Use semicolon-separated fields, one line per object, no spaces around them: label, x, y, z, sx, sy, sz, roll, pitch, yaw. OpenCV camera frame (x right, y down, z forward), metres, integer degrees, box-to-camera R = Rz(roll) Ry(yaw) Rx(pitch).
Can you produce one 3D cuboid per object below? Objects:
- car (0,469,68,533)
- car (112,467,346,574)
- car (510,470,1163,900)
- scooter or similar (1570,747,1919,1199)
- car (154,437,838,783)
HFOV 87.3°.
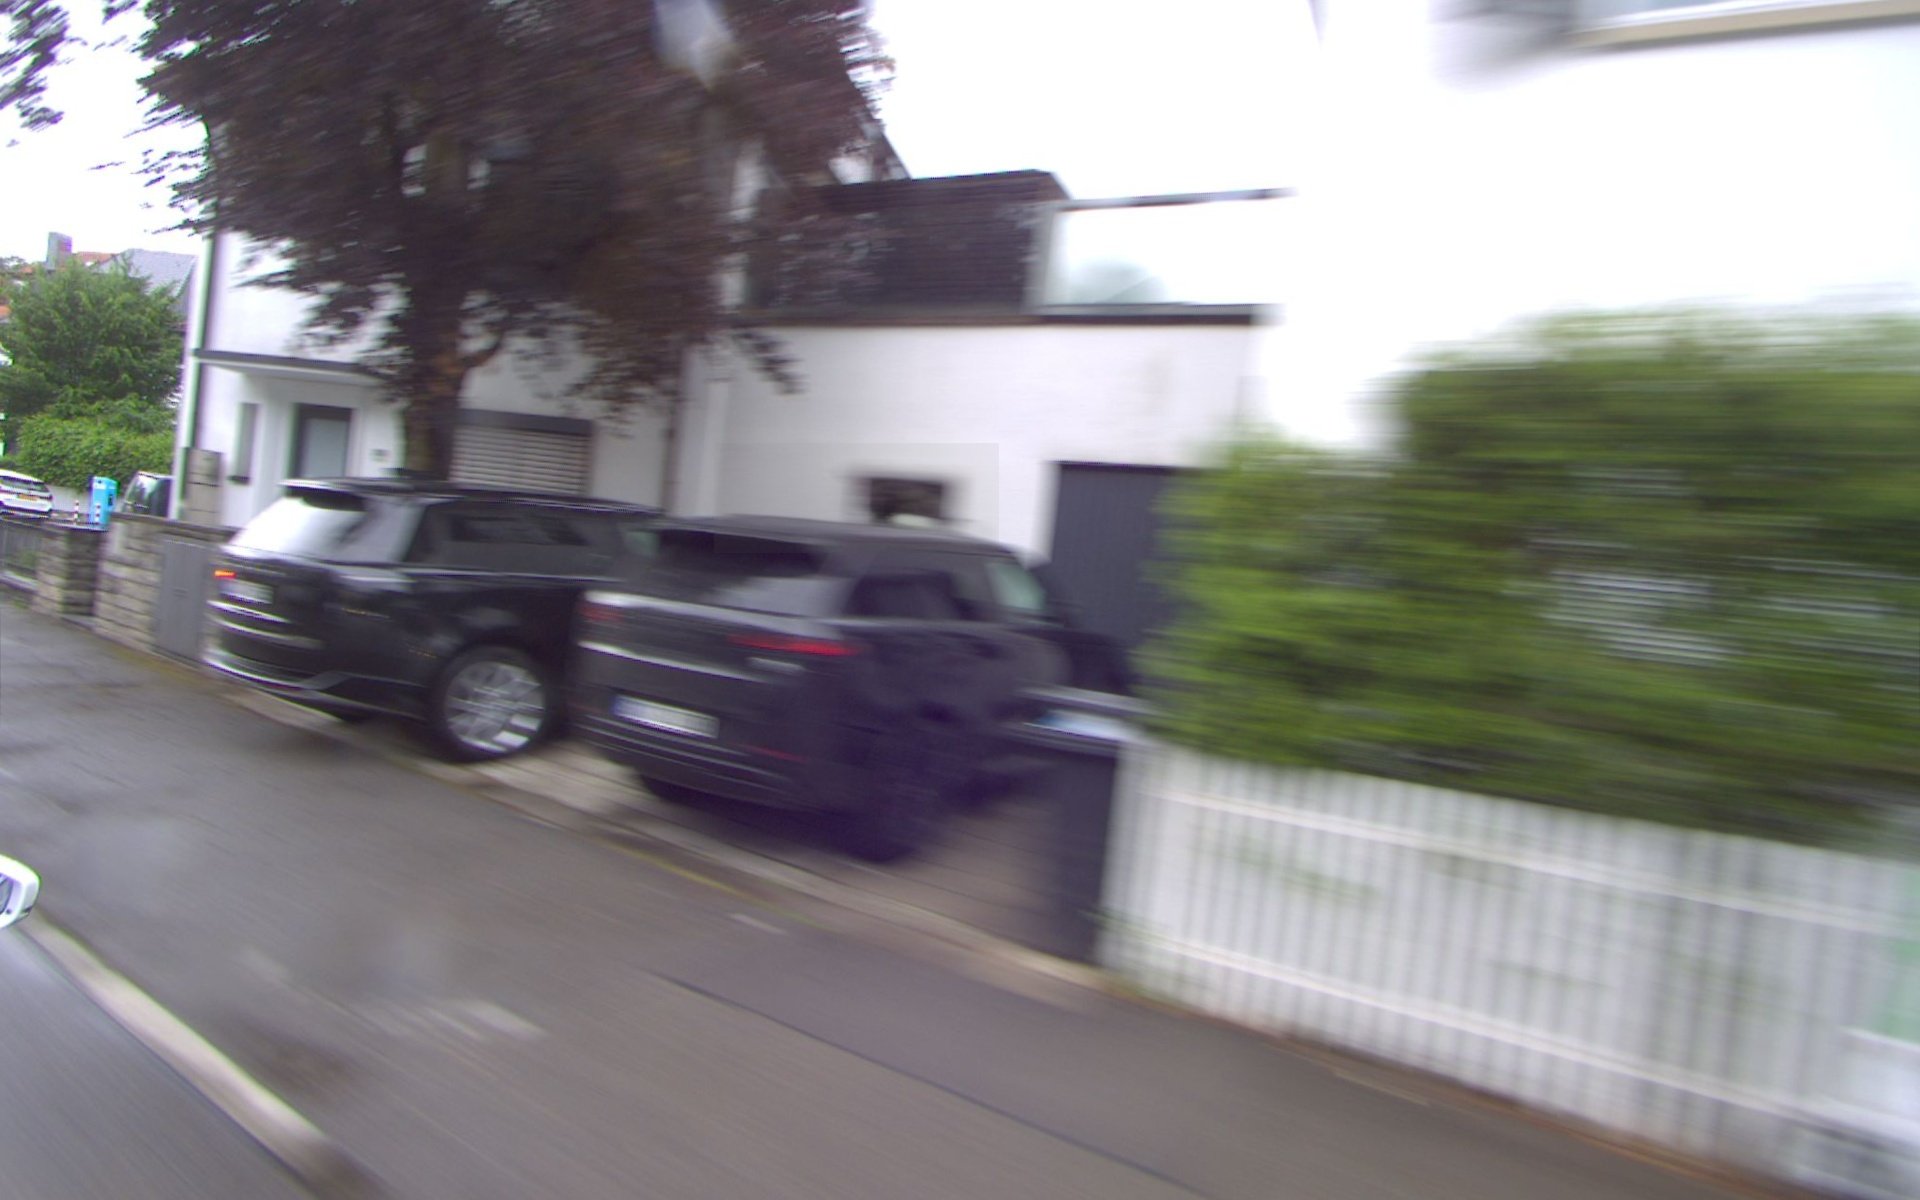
car;-29.513;-3.210;30.347;3.987;1.627;1.814;9;0;14
car;-15.243;-1.627;21.098;1.707;1.527;3.585;9;-1;42
car;-0.367;0.393;6.958;1.966;1.836;4.666;7;2;29
scooter or similar;2.596;1.107;2.414;1.835;1.214;0.457;5;-2;32
car;-3.243;0.054;8.134;1.966;1.899;4.665;7;2;29
